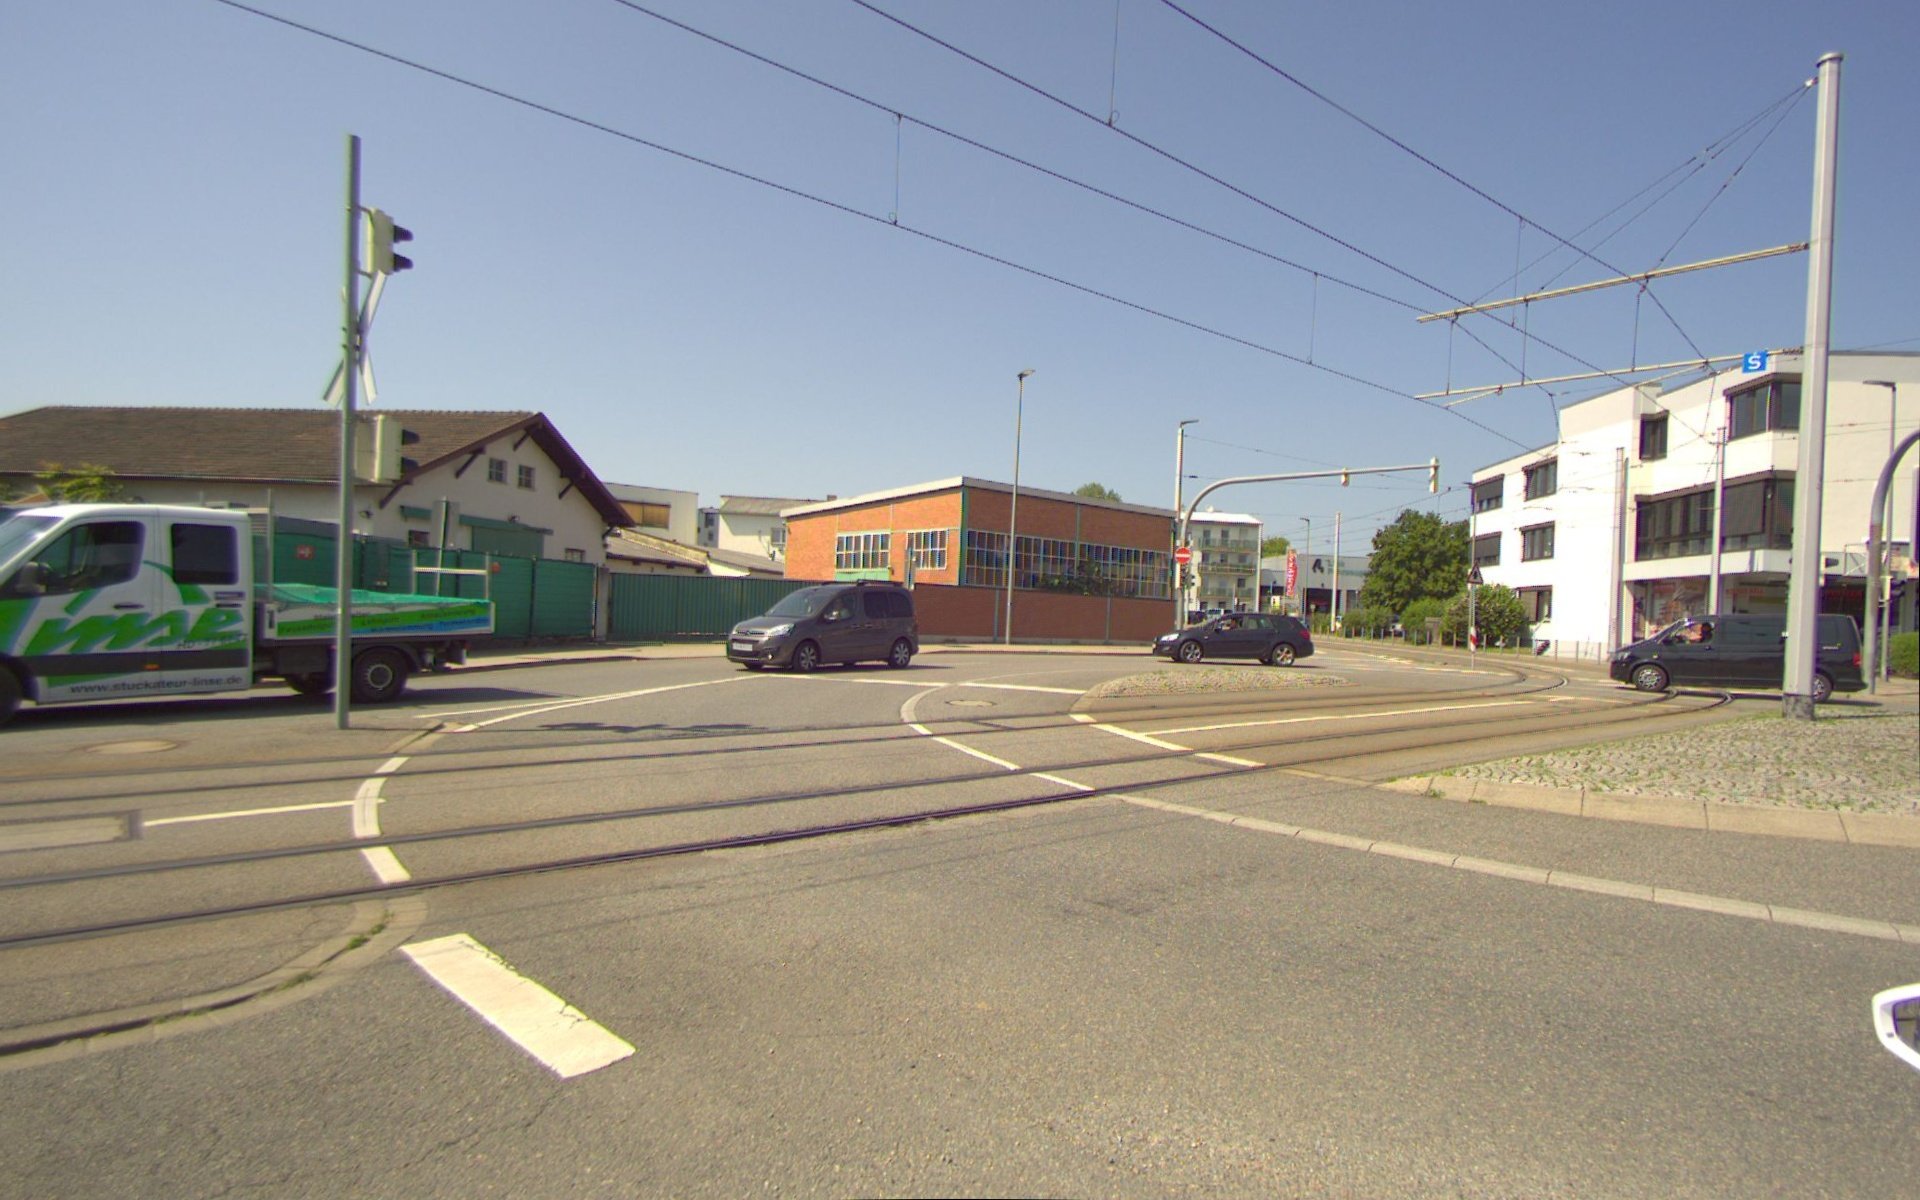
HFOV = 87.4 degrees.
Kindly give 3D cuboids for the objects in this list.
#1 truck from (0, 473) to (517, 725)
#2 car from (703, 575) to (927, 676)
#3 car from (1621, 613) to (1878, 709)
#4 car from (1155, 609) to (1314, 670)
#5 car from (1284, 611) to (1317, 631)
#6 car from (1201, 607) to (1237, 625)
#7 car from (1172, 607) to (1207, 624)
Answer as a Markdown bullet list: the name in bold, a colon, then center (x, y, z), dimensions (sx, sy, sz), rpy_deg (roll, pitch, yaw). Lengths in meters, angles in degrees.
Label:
- **truck**: center (-8.771, 0.010, 11.756), dimensions (2.172, 2.368, 6.372), rpy_deg (2, 0, 33)
- **car**: center (-2.899, 0.512, 20.889), dimensions (1.960, 1.842, 4.388), rpy_deg (2, 0, 40)
- **car**: center (18.516, 1.338, 23.800), dimensions (4.567, 1.936, 2.089), rpy_deg (1, 1, 39)
- **car**: center (7.951, 1.117, 29.446), dimensions (4.157, 1.577, 1.970), rpy_deg (1, 2, 5)
- **car**: center (32.356, 2.010, 95.488), dimensions (1.960, 1.806, 4.001), rpy_deg (2, 0, 3)
- **car**: center (29.194, 1.823, 113.460), dimensions (1.971, 2.040, 3.979), rpy_deg (2, -2, -23)
- **car**: center (25.810, 1.745, 113.157), dimensions (1.971, 1.884, 3.979), rpy_deg (2, -2, -23)
